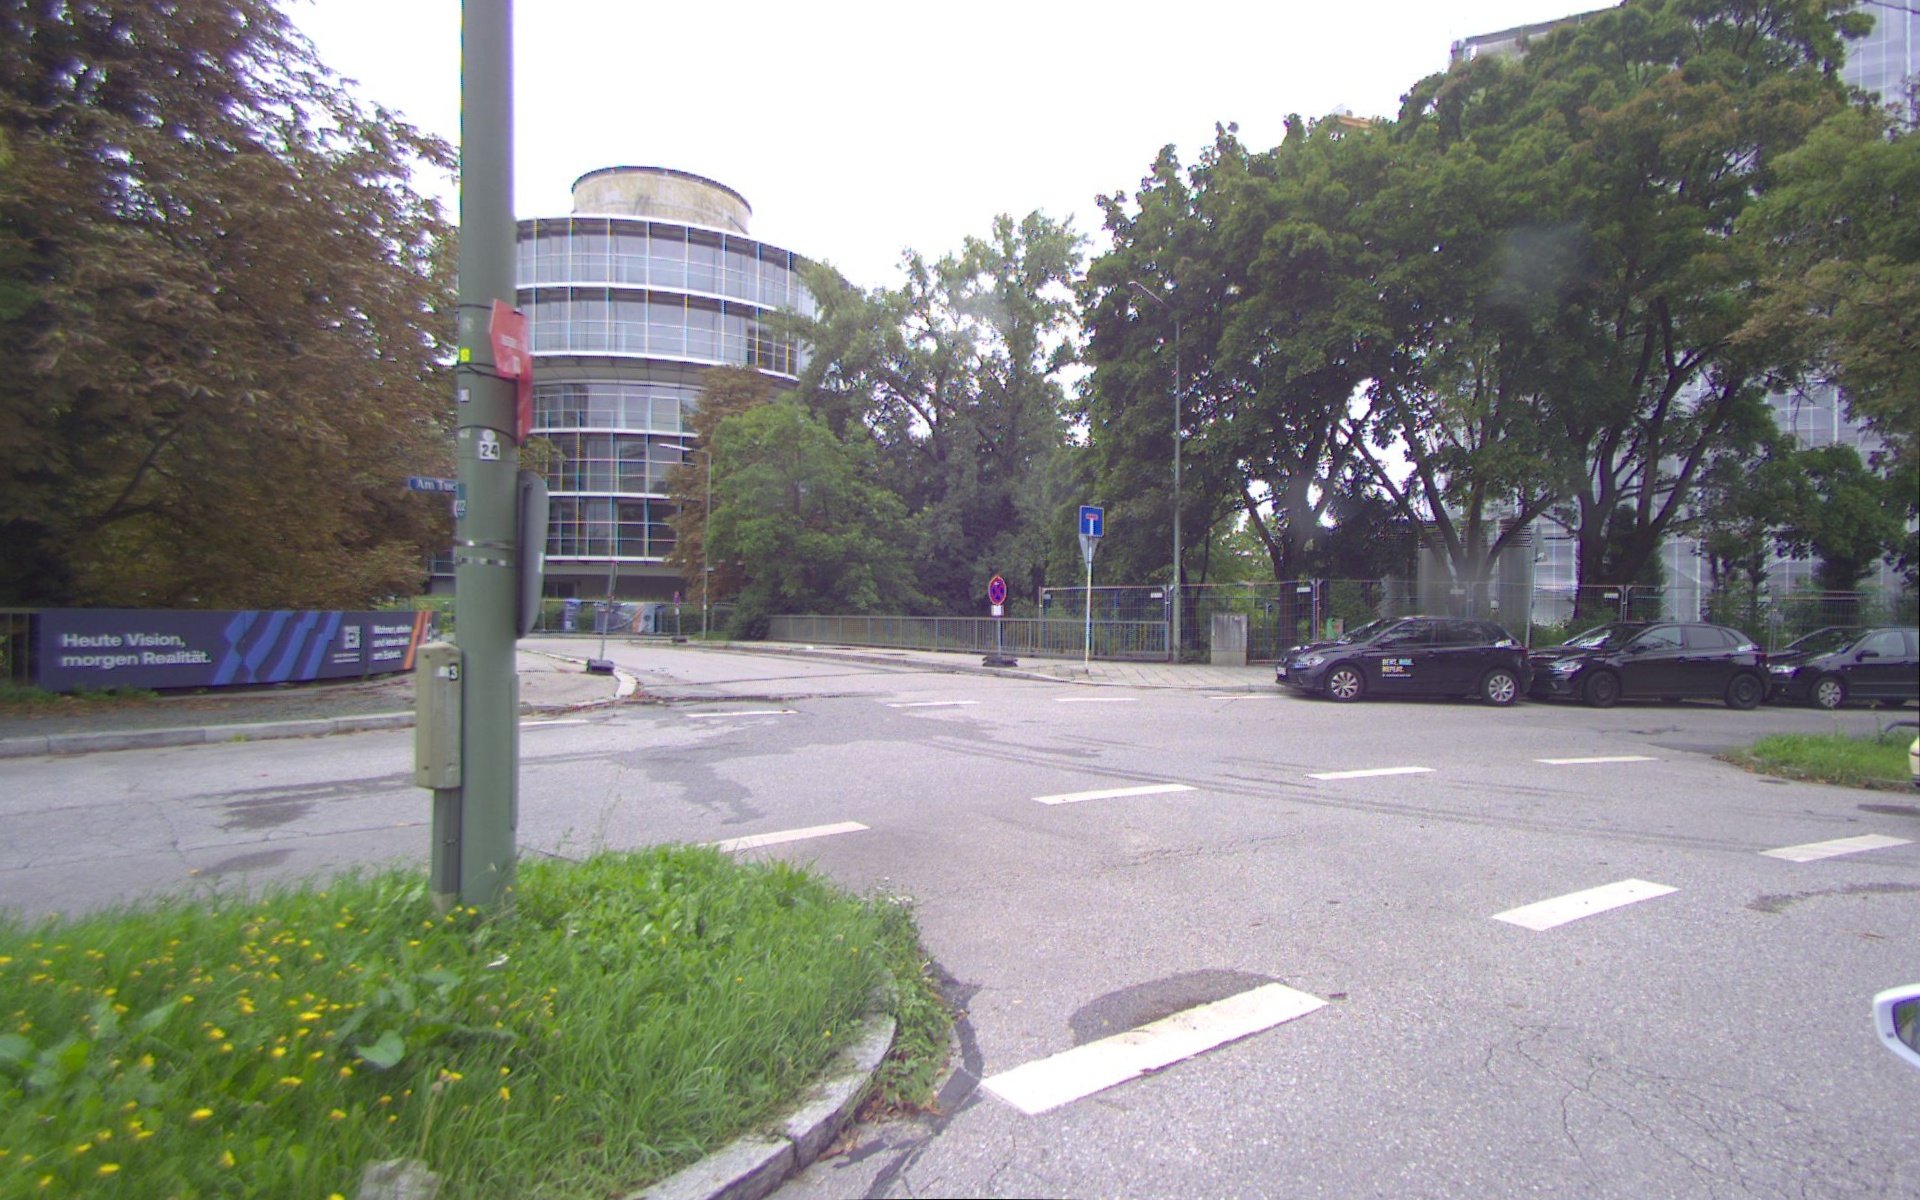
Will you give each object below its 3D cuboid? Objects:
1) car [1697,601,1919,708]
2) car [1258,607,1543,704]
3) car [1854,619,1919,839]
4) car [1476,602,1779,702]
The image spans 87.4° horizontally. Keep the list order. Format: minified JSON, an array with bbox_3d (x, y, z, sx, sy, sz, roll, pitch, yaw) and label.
[{"bbox_3d":[15.869,0.941,17.939,3.922,1.729,1.999,1,1,-2],"label":"car"},{"bbox_3d":[7.390,0.905,17.169,3.963,1.452,1.999,1,1,-1],"label":"car"},{"bbox_3d":[9.136,0.953,6.421,4.755,1.566,1.895,1,-1,14],"label":"car"},{"bbox_3d":[11.435,0.855,17.423,3.922,1.561,1.999,1,0,-2],"label":"car"}]
